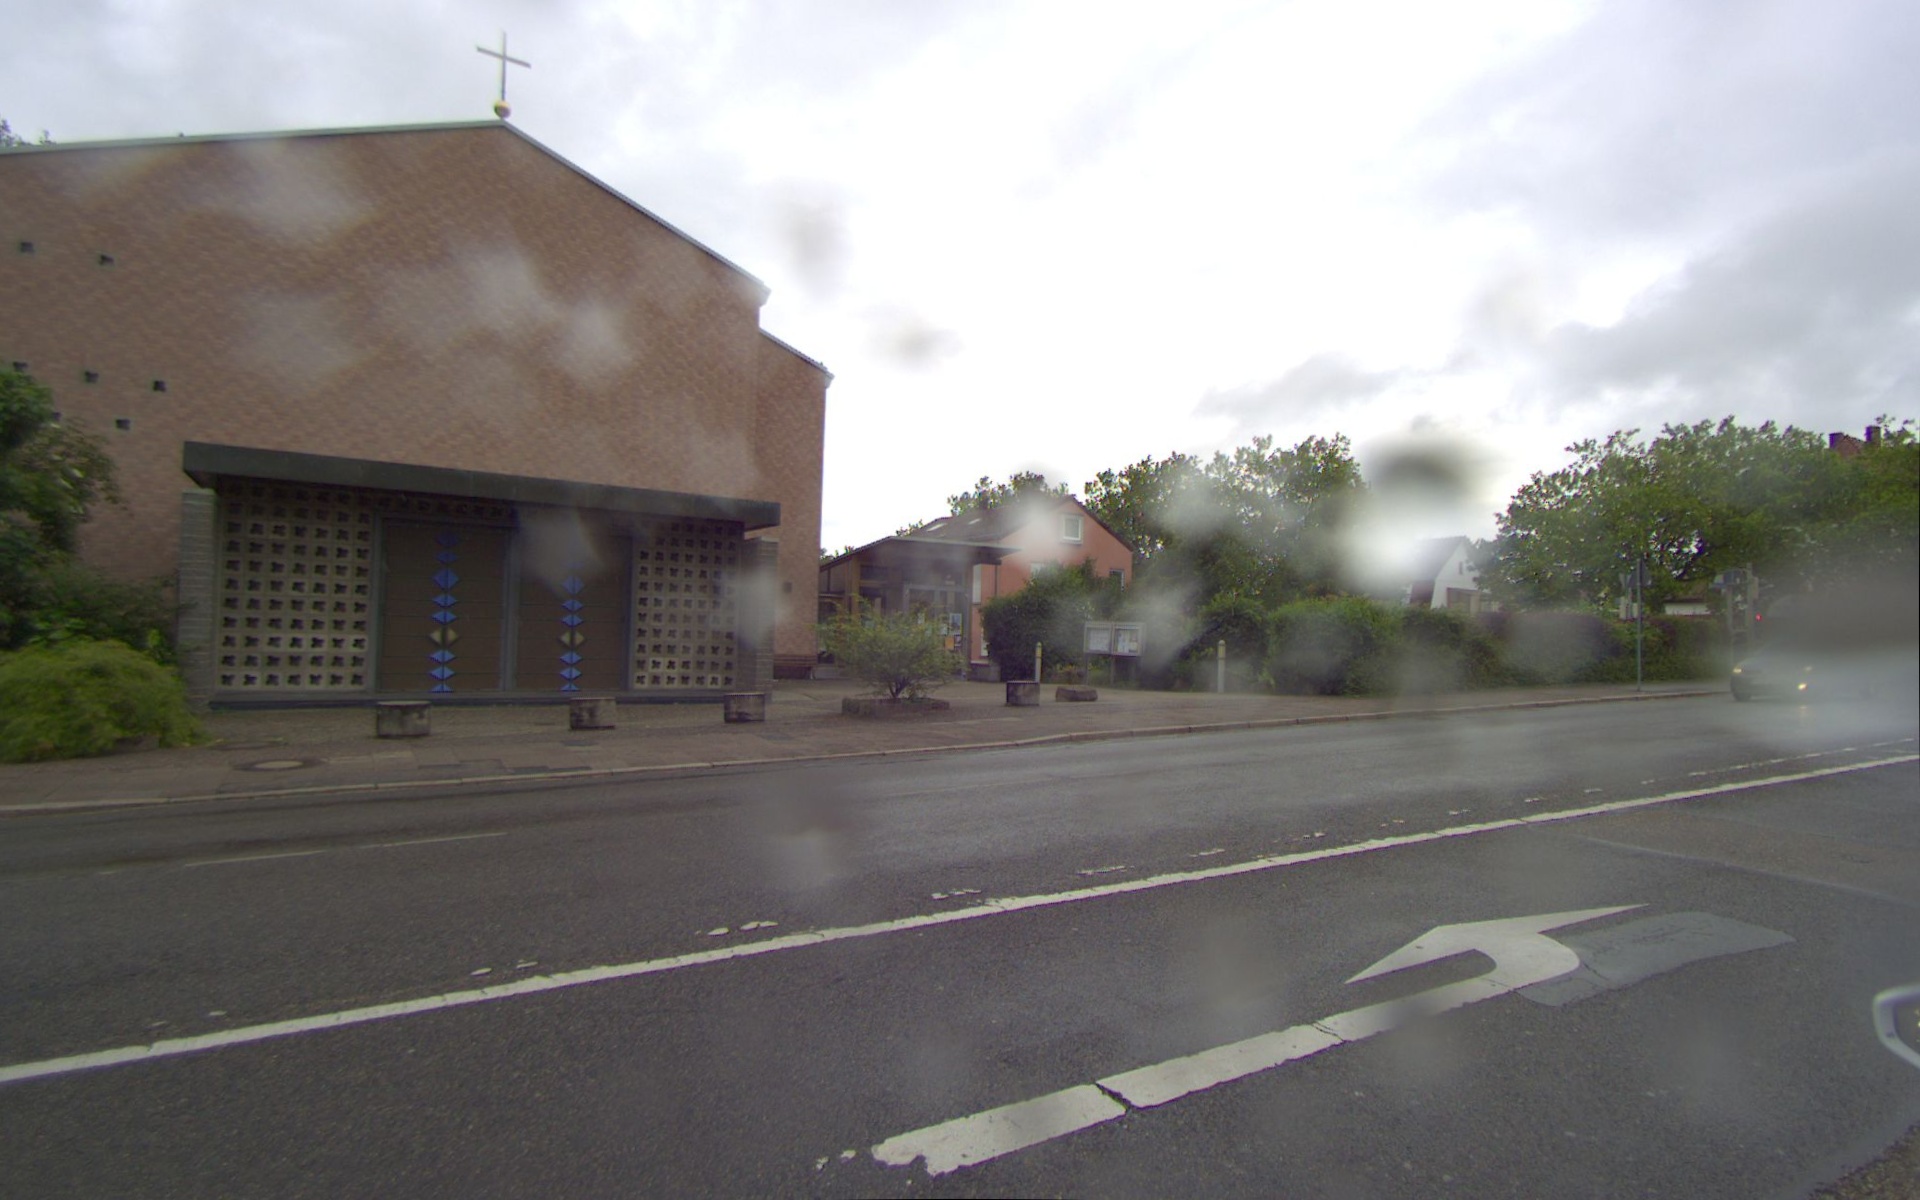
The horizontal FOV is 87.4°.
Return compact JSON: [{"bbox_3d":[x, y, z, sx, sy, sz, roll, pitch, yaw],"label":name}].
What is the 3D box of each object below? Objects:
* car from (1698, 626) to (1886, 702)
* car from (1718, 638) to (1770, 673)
[{"bbox_3d":[18.630,1.367,22.479,3.906,1.530,1.985,1,-1,-29],"label":"car"},{"bbox_3d":[38.696,2.711,49.607,1.969,1.572,3.983,0,-1,38],"label":"car"}]
